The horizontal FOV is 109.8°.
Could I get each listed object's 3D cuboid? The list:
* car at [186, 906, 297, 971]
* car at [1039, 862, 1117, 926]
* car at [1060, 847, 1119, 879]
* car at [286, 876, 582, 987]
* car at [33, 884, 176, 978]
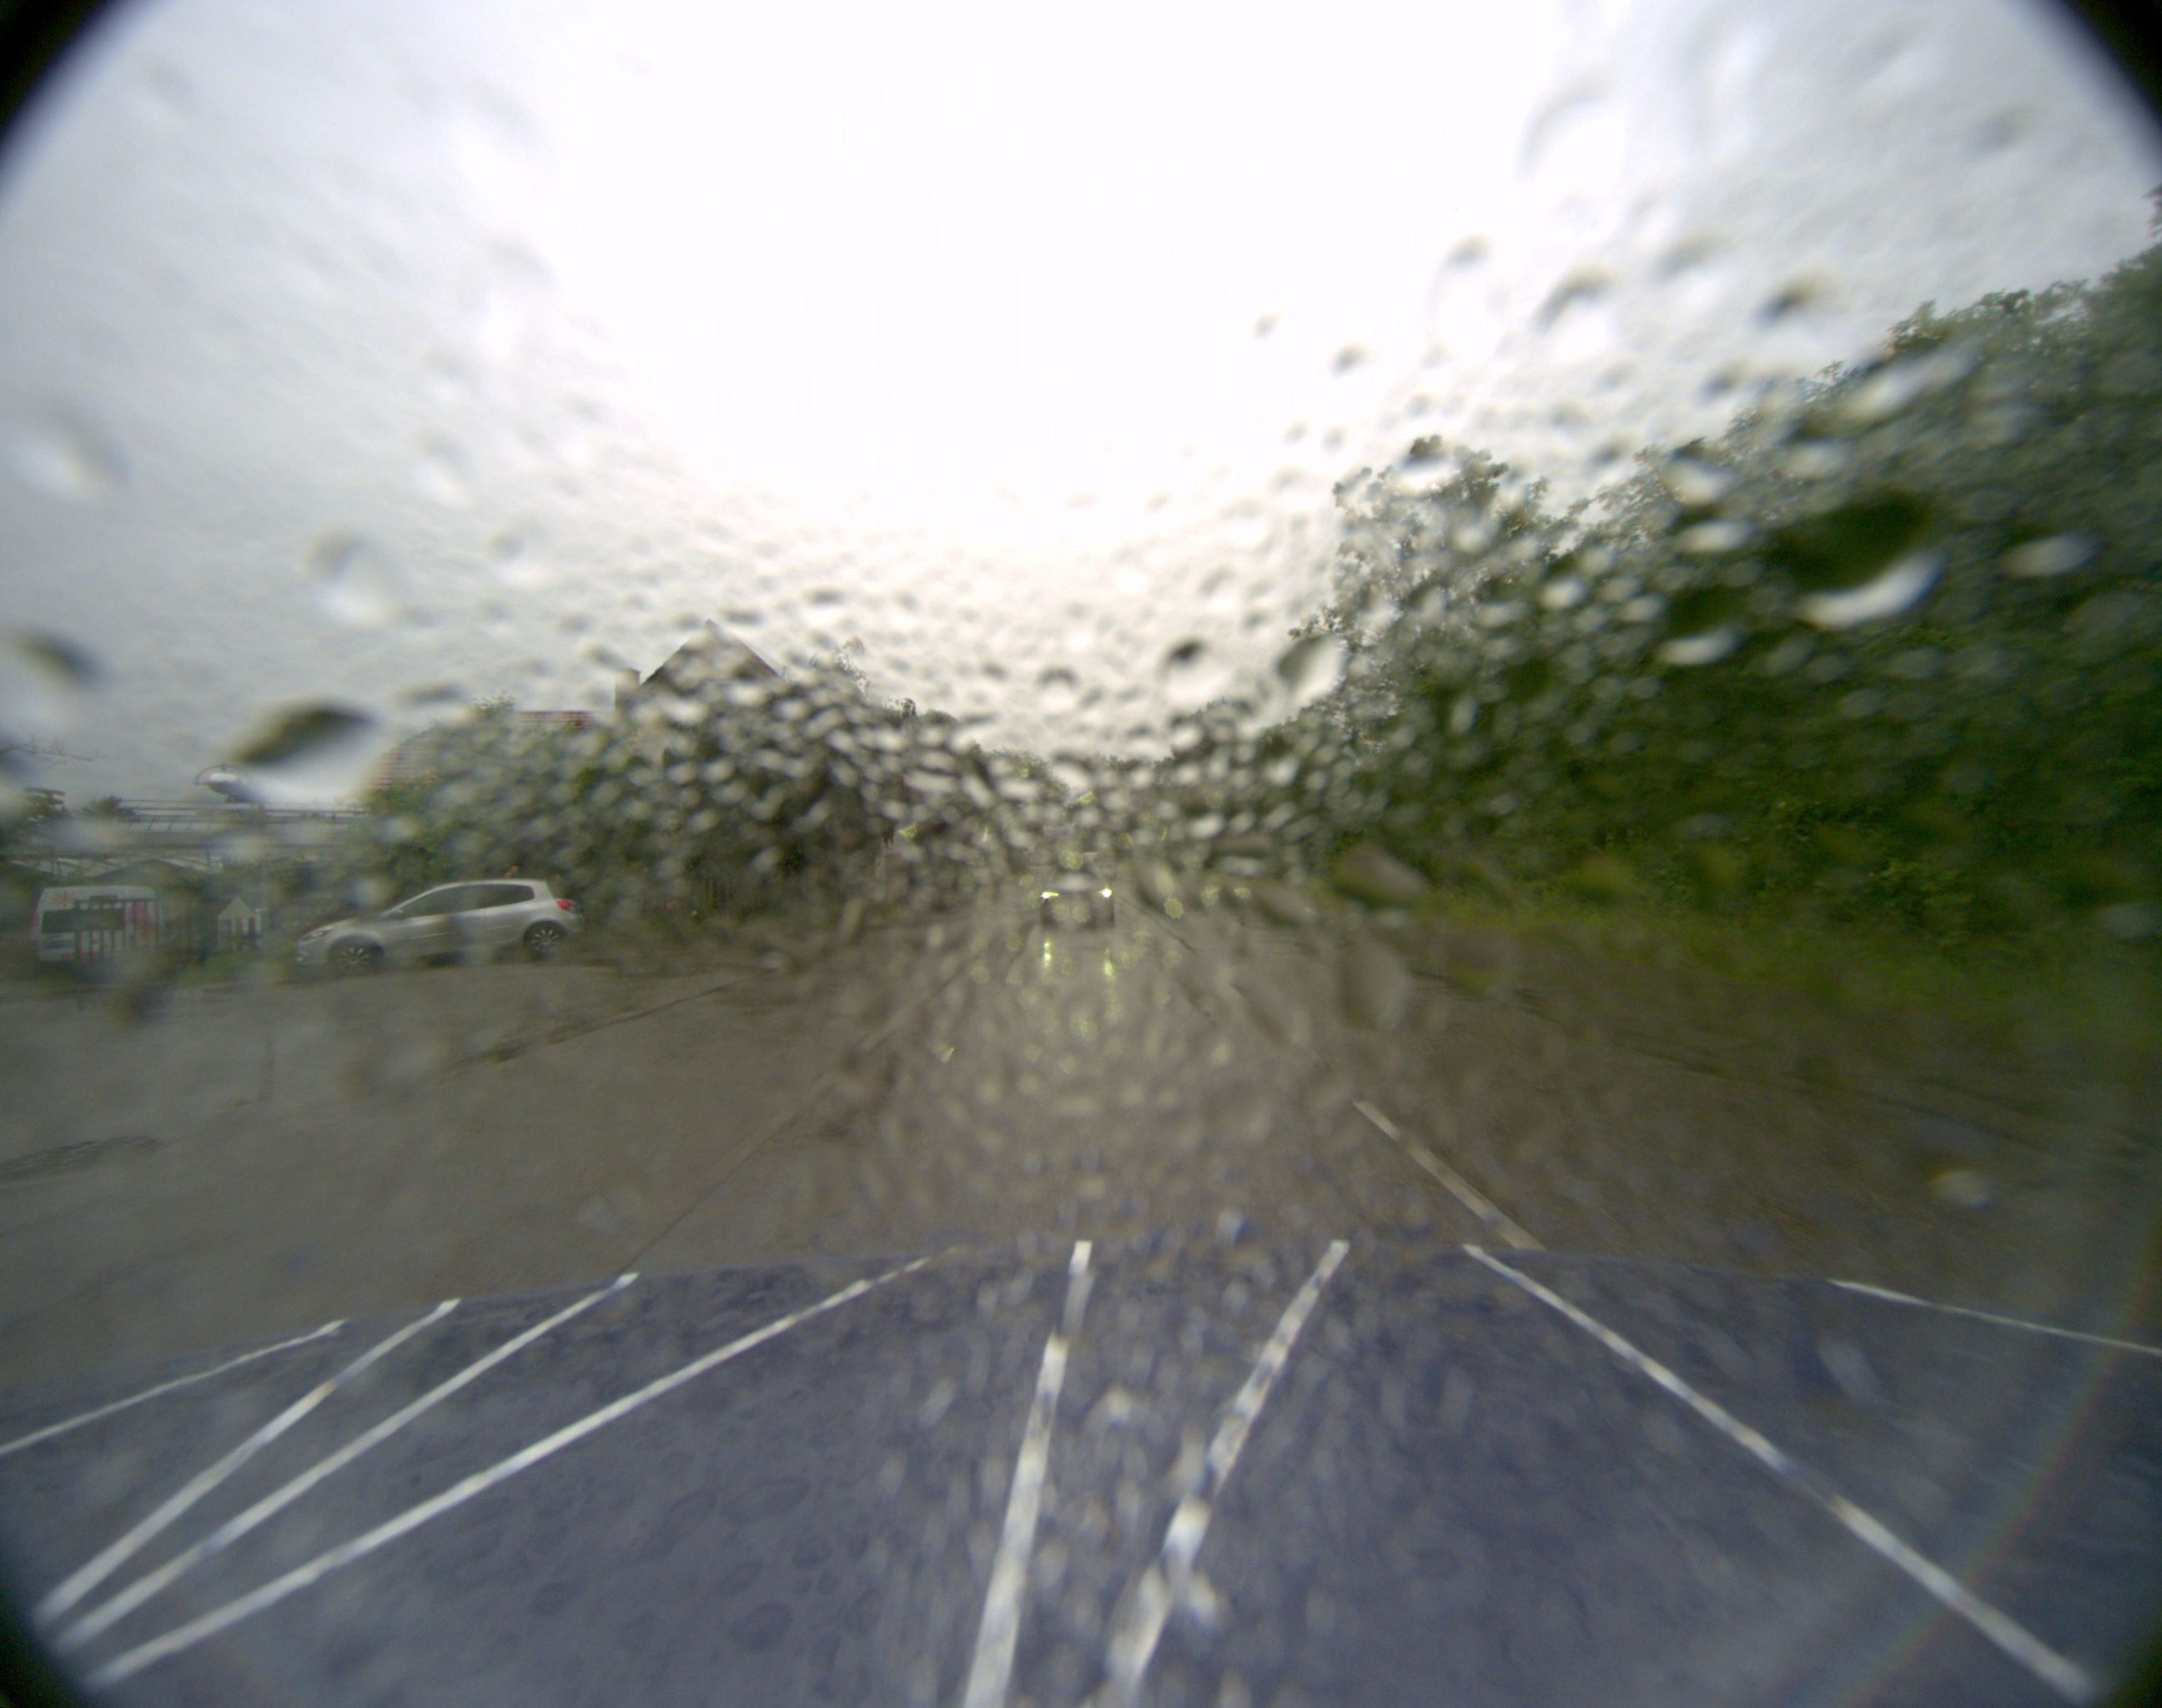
[{"bbox_3d":[-27.603,2.714,25.126,1.937,1.674,3.989,-3,1,-41],"label":"car"},{"bbox_3d":[-0.079,0.951,19.836,1.767,1.316,4.548,-2,1,0],"label":"car"},{"bbox_3d":[0.488,0.579,48.467,1.840,1.853,3.945,-3,1,-33],"label":"car"},{"bbox_3d":[-11.462,1.290,13.869,3.862,1.523,1.715,-3,1,-33],"label":"car"},{"bbox_3d":[-29.713,2.235,23.272,2.004,2.497,3.989,-1,0,-42],"label":"car"}]
